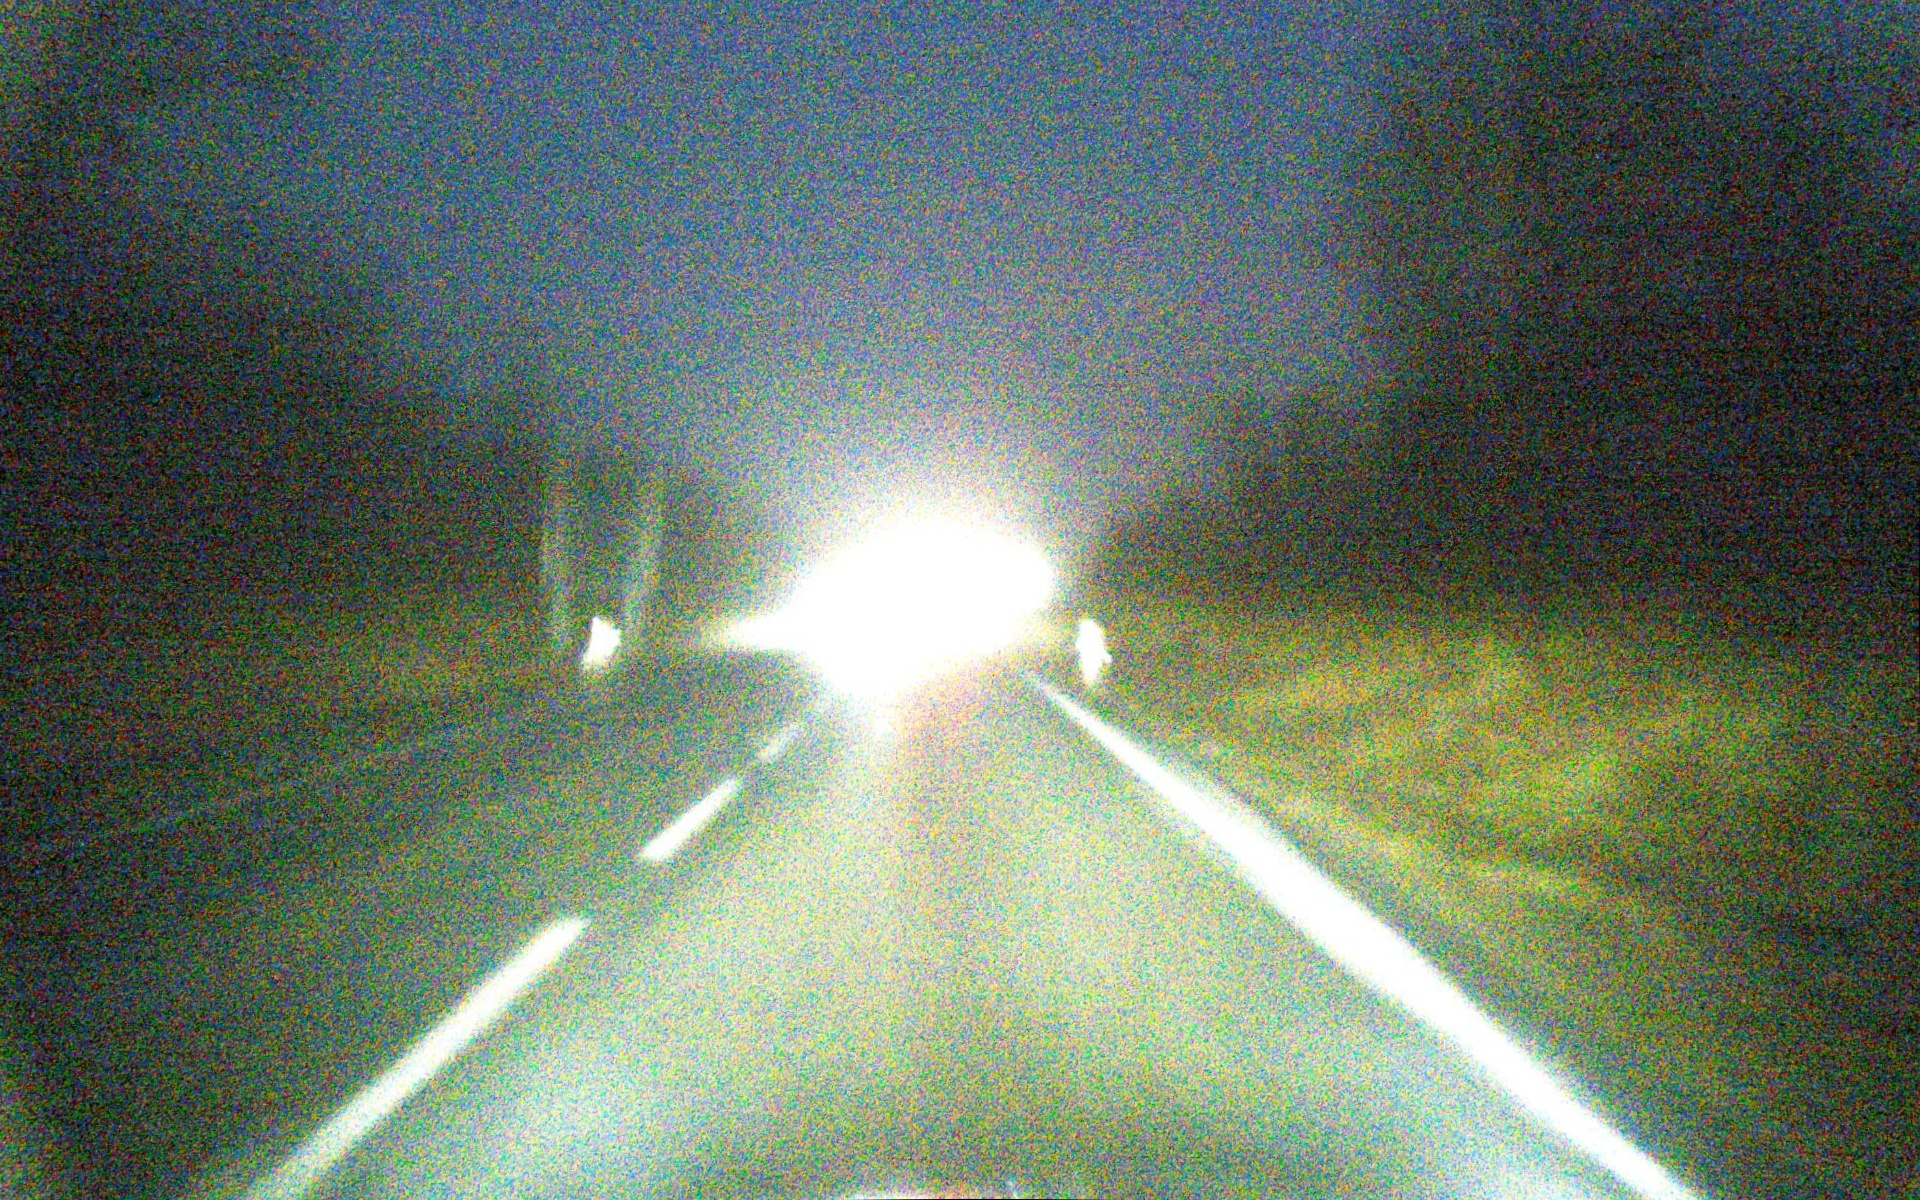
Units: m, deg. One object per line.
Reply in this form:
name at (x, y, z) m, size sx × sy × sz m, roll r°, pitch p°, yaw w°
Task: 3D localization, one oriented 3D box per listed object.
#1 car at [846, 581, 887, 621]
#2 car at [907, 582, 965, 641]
car at (-4.998, 0.068, 89.043) m, size 1.953 × 2.049 × 4.000 m, roll 1°, pitch 0°, yaw 0°
car at (-0.825, 0.354, 54.686) m, size 1.805 × 1.770 × 3.999 m, roll 2°, pitch 1°, yaw -2°
